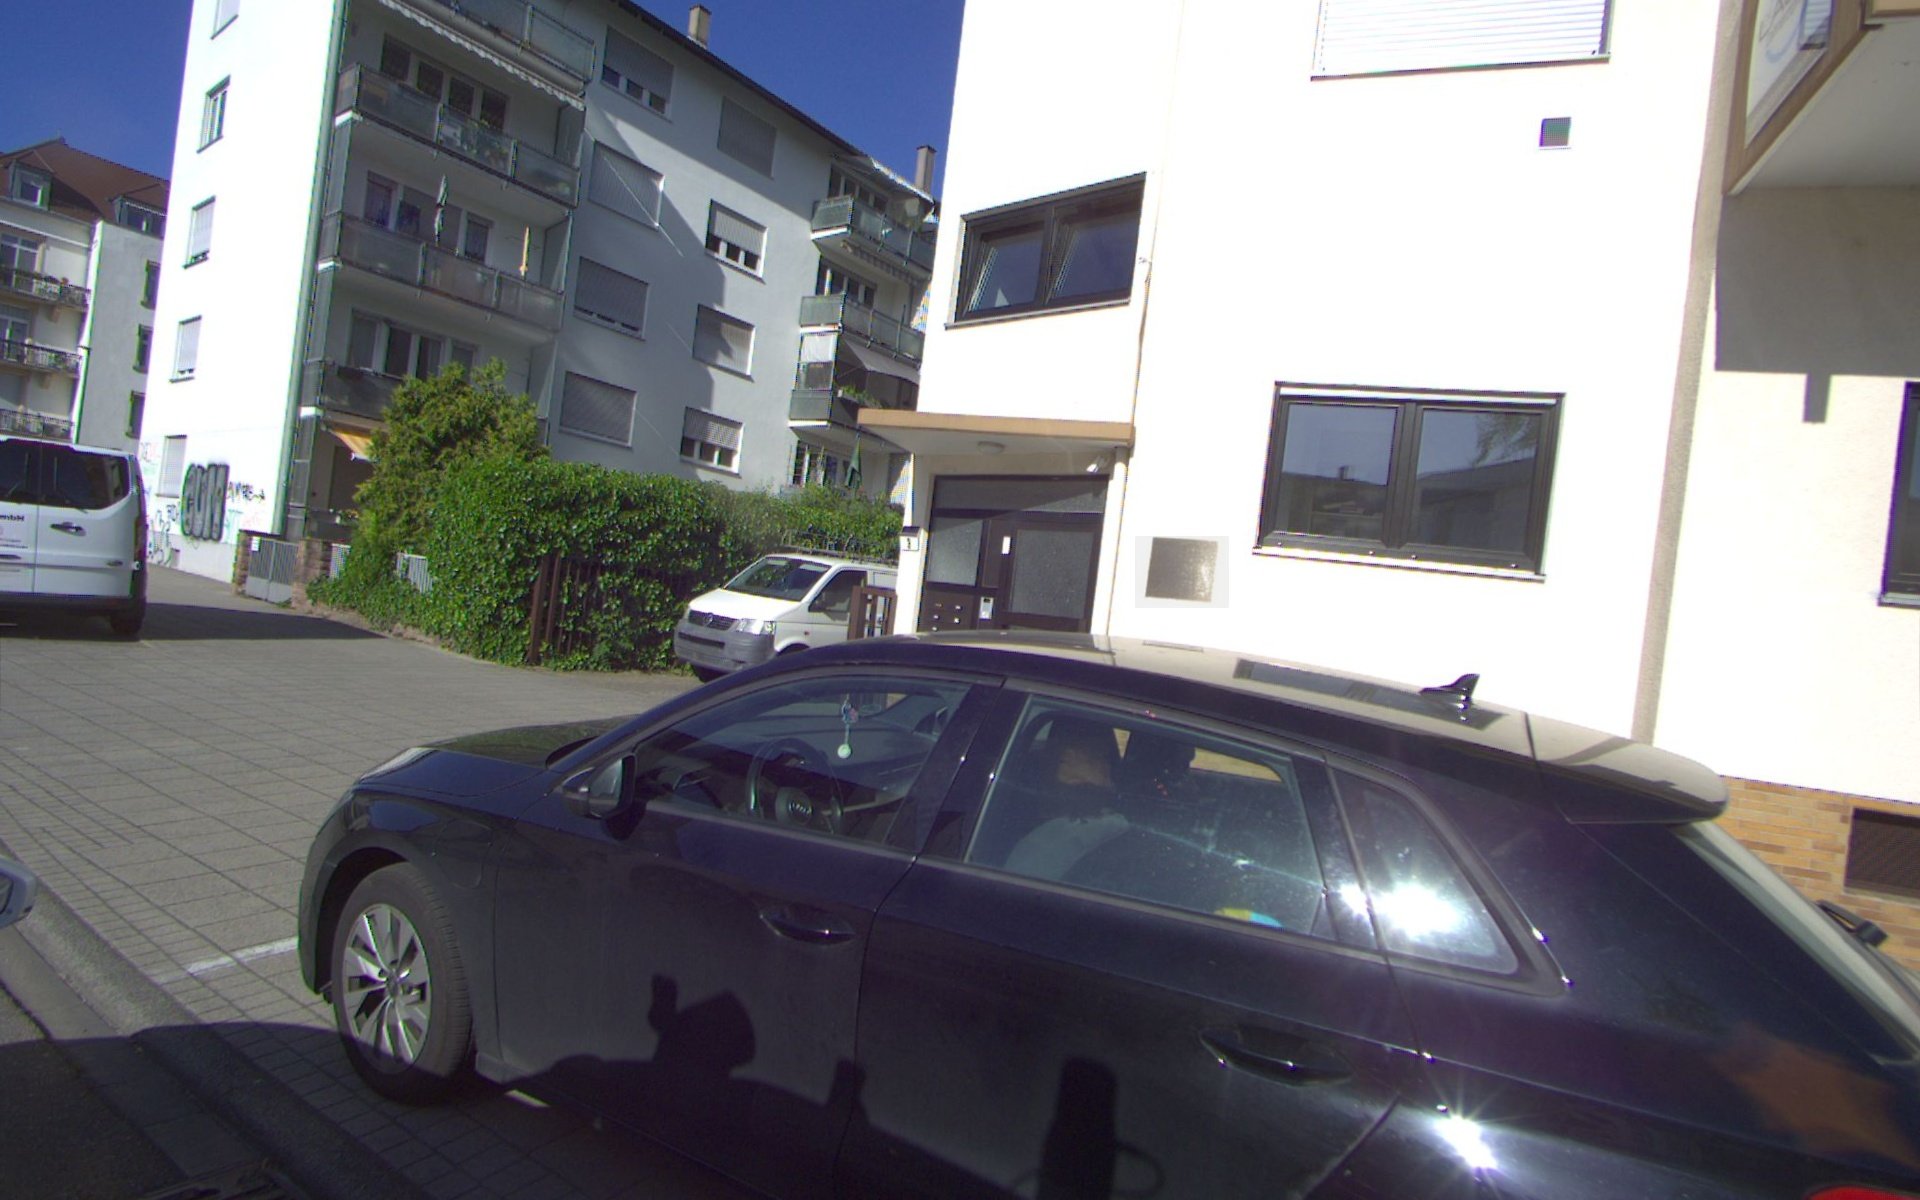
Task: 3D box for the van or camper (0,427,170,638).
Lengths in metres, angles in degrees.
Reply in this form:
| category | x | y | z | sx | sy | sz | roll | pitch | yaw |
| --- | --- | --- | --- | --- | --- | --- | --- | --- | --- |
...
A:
| category | x | y | z | sx | sy | sz | roll | pitch | yaw |
| --- | --- | --- | --- | --- | --- | --- | --- | --- | --- |
| van or camper | -10.743 | -0.848 | 11.399 | 4.638 | 1.972 | 2.016 | 7 | 1 | 42 |

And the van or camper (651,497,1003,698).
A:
| category | x | y | z | sx | sy | sz | roll | pitch | yaw |
| --- | --- | --- | --- | --- | --- | --- | --- | --- | --- |
| van or camper | -1.721 | 0.104 | 14.695 | 1.827 | 2.317 | 4.957 | 8 | 0 | 40 |

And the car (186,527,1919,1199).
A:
| category | x | y | z | sx | sy | sz | roll | pitch | yaw |
| --- | --- | --- | --- | --- | --- | --- | --- | --- | --- |
| car | -0.085 | 0.748 | 2.773 | 4.241 | 1.427 | 1.719 | 7 | 2 | 30 |
